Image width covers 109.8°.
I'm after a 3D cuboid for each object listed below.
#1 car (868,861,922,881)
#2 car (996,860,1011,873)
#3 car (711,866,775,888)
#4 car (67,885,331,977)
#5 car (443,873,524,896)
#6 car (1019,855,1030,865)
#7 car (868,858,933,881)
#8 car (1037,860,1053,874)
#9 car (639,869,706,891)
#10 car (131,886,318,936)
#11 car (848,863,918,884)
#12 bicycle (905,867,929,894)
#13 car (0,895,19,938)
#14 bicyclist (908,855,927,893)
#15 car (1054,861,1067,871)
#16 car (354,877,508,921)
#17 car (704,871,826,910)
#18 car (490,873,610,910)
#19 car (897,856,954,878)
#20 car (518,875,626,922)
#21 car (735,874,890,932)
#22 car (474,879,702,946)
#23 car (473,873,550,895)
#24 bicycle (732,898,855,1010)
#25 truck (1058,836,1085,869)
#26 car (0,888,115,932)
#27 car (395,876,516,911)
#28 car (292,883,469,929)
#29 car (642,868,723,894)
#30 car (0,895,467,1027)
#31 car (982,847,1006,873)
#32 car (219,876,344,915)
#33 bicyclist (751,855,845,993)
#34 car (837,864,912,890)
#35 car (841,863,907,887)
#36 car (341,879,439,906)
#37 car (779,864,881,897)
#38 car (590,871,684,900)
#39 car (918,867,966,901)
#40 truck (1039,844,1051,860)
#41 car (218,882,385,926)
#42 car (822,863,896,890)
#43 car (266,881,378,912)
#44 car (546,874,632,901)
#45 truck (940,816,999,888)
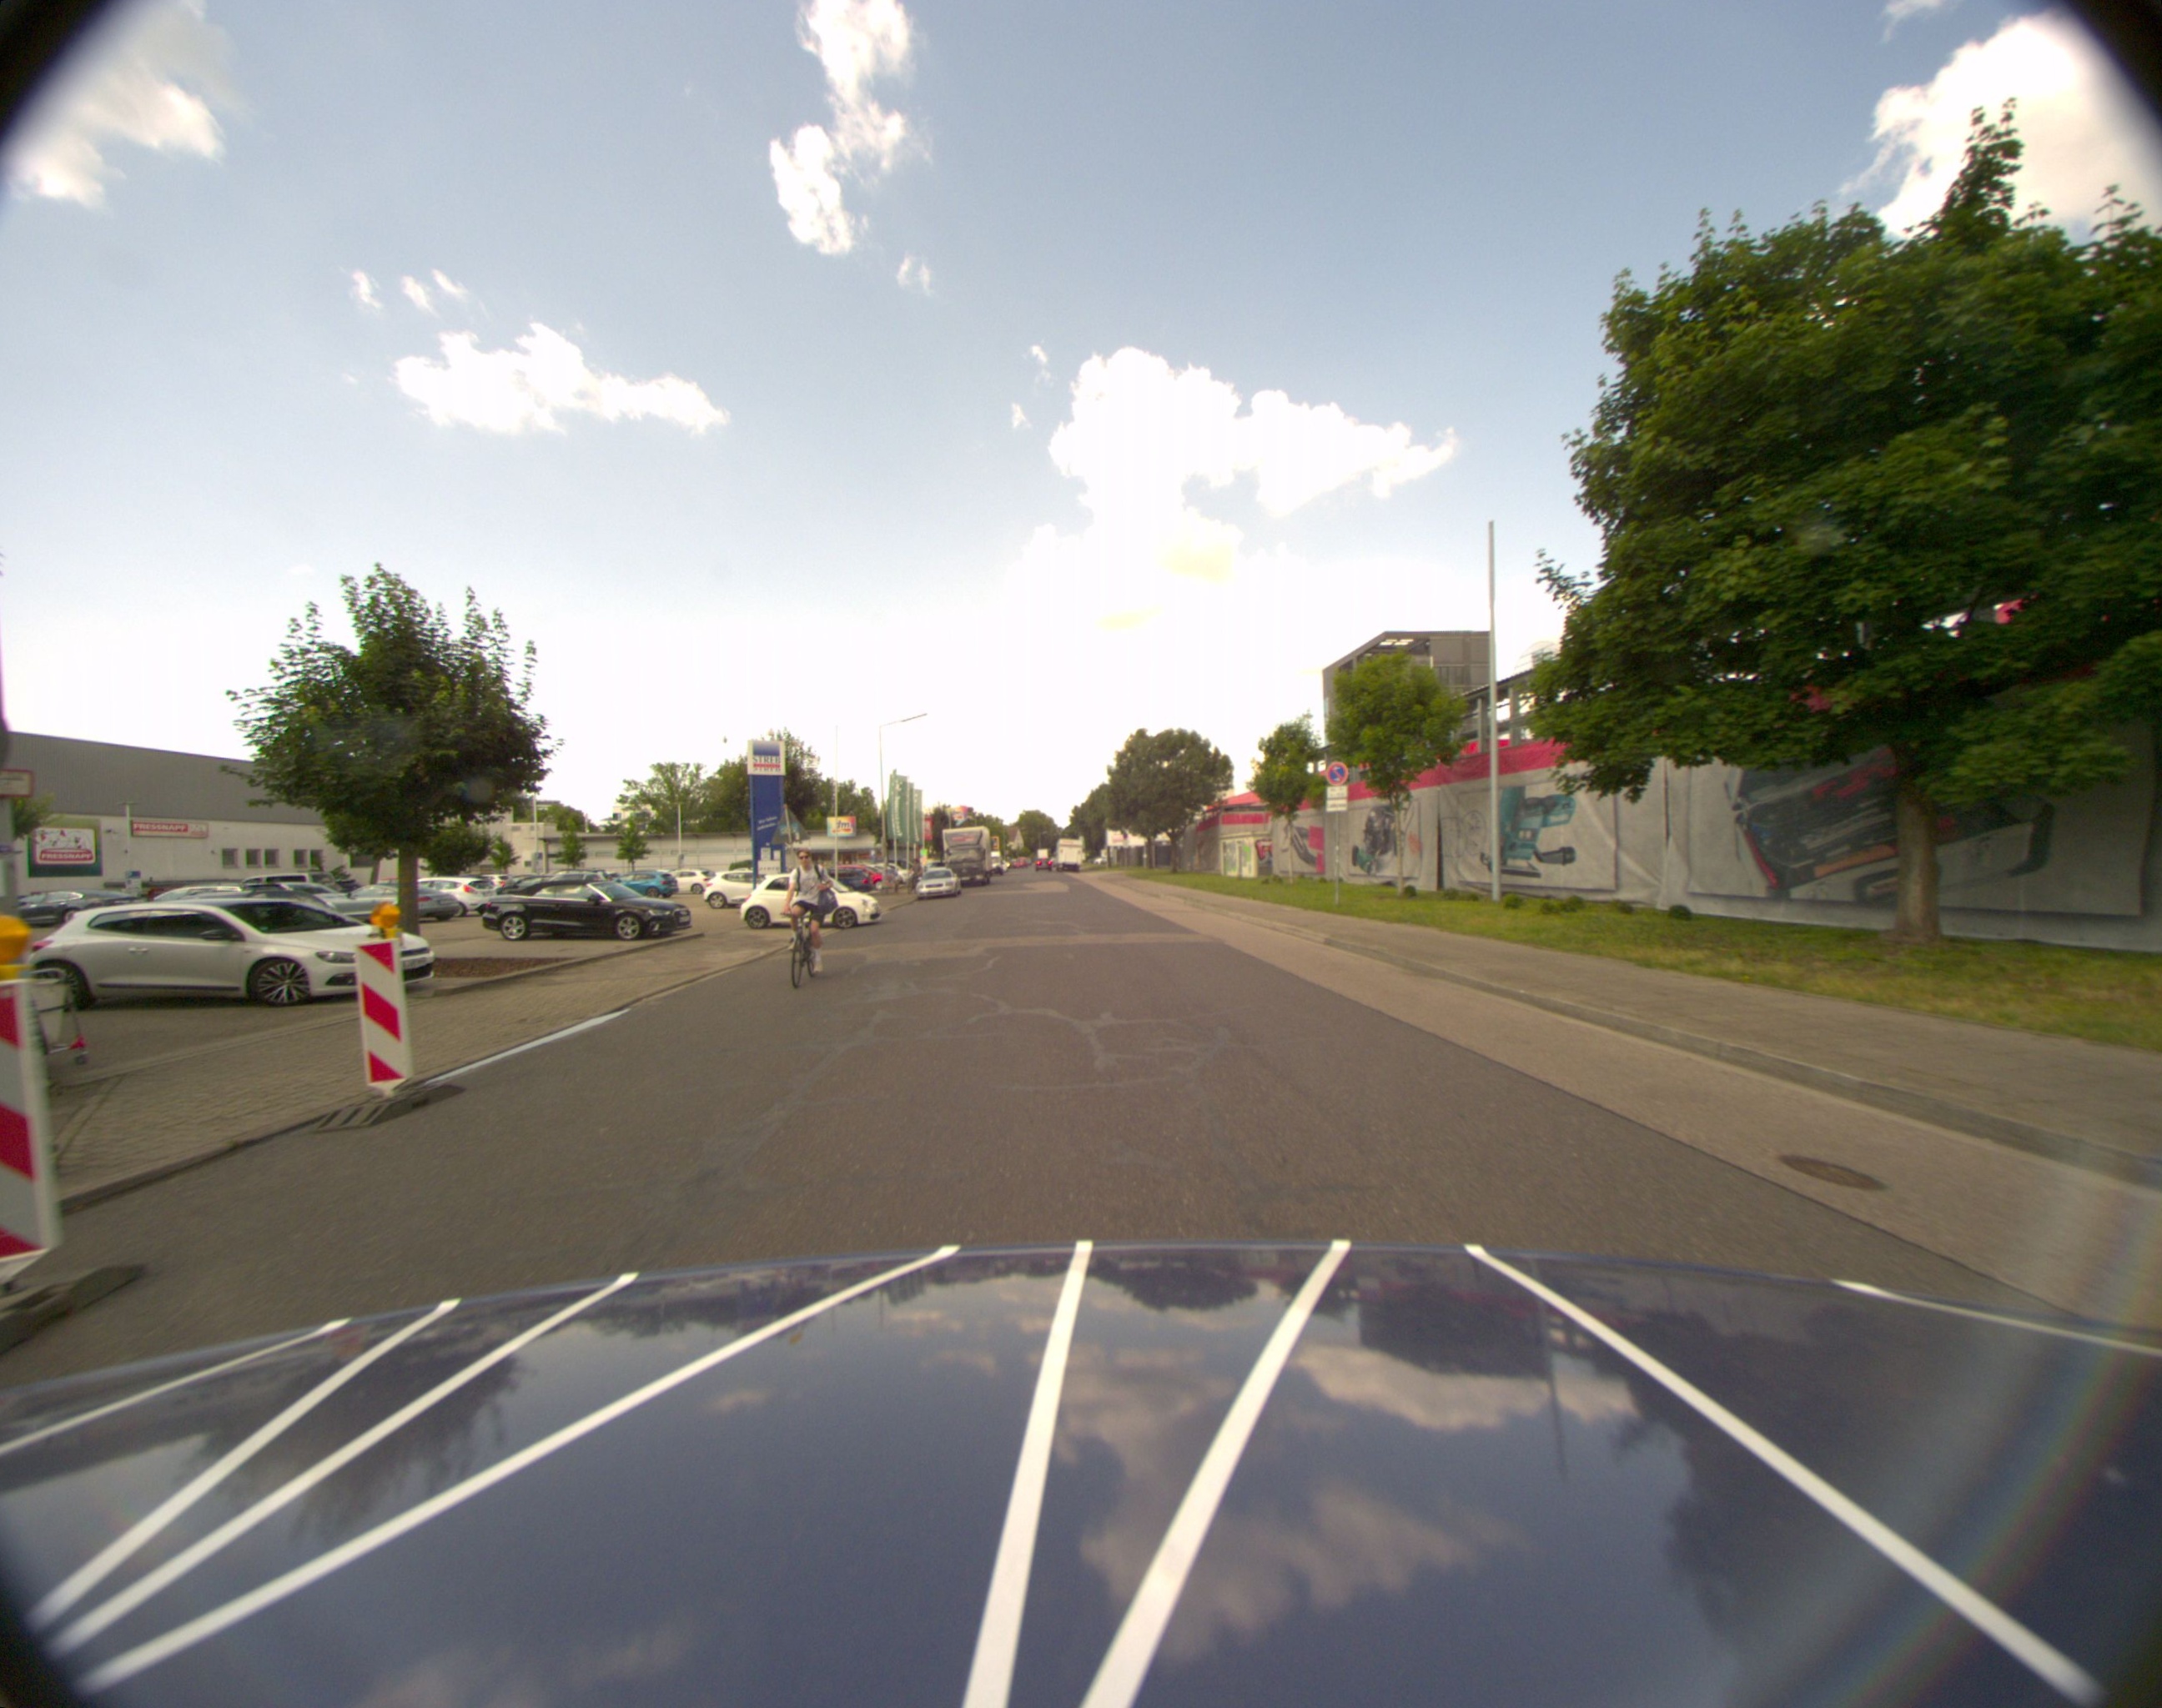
[{"bbox_3d":[-14.466,1.339,59.217,3.822,1.490,1.653,-1,0,-2],"label":"car"},{"bbox_3d":[-9.717,1.524,95.391,1.699,1.448,3.548,-4,0,-4],"label":"car"},{"bbox_3d":[-24.706,1.652,55.628,3.947,1.475,1.724,-1,0,-6],"label":"car"},{"bbox_3d":[-18.661,1.534,16.431,1.688,1.403,4.380,-3,1,-19],"label":"car"},{"bbox_3d":[-41.164,2.102,52.412,4.026,1.475,1.724,-1,0,-6],"label":"car"},{"bbox_3d":[-9.407,1.004,126.900,1.857,1.467,3.999,-2,0,-4],"label":"car"},{"bbox_3d":[-14.655,1.270,61.851,4.907,1.777,1.902,-1,0,-4],"label":"car"},{"bbox_3d":[-4.258,1.529,89.640,1.879,1.610,4.292,0,0,-3],"label":"car"},{"bbox_3d":[-29.840,1.881,55.617,3.947,1.475,1.724,-1,0,-6],"label":"car"},{"bbox_3d":[-28.621,1.867,25.505,4.054,1.475,1.724,-1,0,-6],"label":"car"},{"bbox_3d":[-14.028,1.370,54.080,4.494,1.428,1.858,-1,0,-4],"label":"car"},{"bbox_3d":[-8.382,1.342,38.934,0.794,1.287,1.882,2,0,-2],"label":"bicycle"},{"bbox_3d":[-39.181,2.185,25.513,4.197,1.475,1.724,-1,0,-6],"label":"car"},{"bbox_3d":[-8.372,1.027,38.915,0.796,1.899,0.828,2,0,-1],"label":"bicyclist"},{"bbox_3d":[-3.469,2.012,128.749,1.983,1.565,3.999,-2,0,-4],"label":"car"},{"bbox_3d":[-24.190,1.669,28.406,4.071,1.475,1.724,-1,0,-6],"label":"car"},{"bbox_3d":[-11.951,1.359,28.960,3.964,1.402,1.796,0,0,-6],"label":"car"},{"bbox_3d":[-23.520,1.637,33.744,4.007,1.475,1.724,-1,0,-6],"label":"car"},{"bbox_3d":[-13.645,1.151,66.504,4.596,1.674,1.743,-3,0,-20],"label":"car"},{"bbox_3d":[-18.819,1.601,28.279,1.724,1.510,3.751,-2,0,-6],"label":"car"},{"bbox_3d":[-7.268,1.306,20.796,3.609,1.461,1.689,-1,0,1],"label":"car"},{"bbox_3d":[-11.599,1.352,18.094,4.191,1.422,1.806,-1,0,-2],"label":"car"},{"bbox_3d":[-41.141,2.172,54.962,4.143,1.475,1.724,-1,0,-6],"label":"car"},{"bbox_3d":[-3.898,1.294,10.592,0.800,1.173,2.626,-3,0,-4],"label":"bicycle"},{"bbox_3d":[-1.168,-0.159,89.319,2.755,3.701,7.168,0,0,-4],"label":"truck"},{"bbox_3d":[-39.067,2.082,28.120,4.062,1.475,1.755,-1,0,-6],"label":"car"},{"bbox_3d":[-28.994,1.817,35.308,4.022,1.475,1.724,-1,0,-6],"label":"car"},{"bbox_3d":[-23.539,1.724,25.674,4.116,1.330,1.793,-1,0,-6],"label":"car"},{"bbox_3d":[-24.106,1.606,46.037,3.947,1.475,1.724,-1,0,-6],"label":"car"},{"bbox_3d":[-11.299,1.363,10.368,4.115,1.454,1.989,-1,0,-4],"label":"car"},{"bbox_3d":[-8.887,0.638,78.135,2.058,2.395,5.453,-4,0,-4],"label":"car"},{"bbox_3d":[-39.552,2.021,37.670,4.077,1.789,1.724,-1,0,-6],"label":"car"},{"bbox_3d":[-3.933,0.924,10.676,0.809,1.782,1.206,-4,1,-4],"label":"bicyclist"},{"bbox_3d":[-12.720,1.405,47.098,4.300,1.533,1.748,-1,0,-9],"label":"car"},{"bbox_3d":[-13.391,1.332,49.385,3.896,1.424,1.748,-1,0,-9],"label":"car"},{"bbox_3d":[-40.857,2.273,44.982,4.043,1.475,1.724,-1,0,-6],"label":"car"},{"bbox_3d":[-12.098,1.263,36.851,4.320,1.435,1.846,-1,0,-5],"label":"car"},{"bbox_3d":[-23.838,1.678,40.939,3.994,1.475,1.740,-1,0,-6],"label":"car"},{"bbox_3d":[-6.491,1.350,35.749,1.666,1.332,3.984,-5,0,-4],"label":"car"},{"bbox_3d":[-9.873,-0.534,208.903,2.980,4.131,9.664,-2,0,-4],"label":"truck"},{"bbox_3d":[-28.702,1.818,28.077,4.130,1.475,1.724,-1,0,-6],"label":"car"},{"bbox_3d":[-12.835,1.286,44.180,3.896,1.513,1.748,-1,0,-9],"label":"car"},{"bbox_3d":[-40.046,2.218,40.167,3.934,1.475,1.724,-1,0,-6],"label":"car"},{"bbox_3d":[-29.551,1.996,45.697,3.947,1.475,1.724,-1,0,-6],"label":"car"},{"bbox_3d":[-7.054,-0.105,49.204,2.786,4.092,8.276,-4,0,-3],"label":"truck"}]
